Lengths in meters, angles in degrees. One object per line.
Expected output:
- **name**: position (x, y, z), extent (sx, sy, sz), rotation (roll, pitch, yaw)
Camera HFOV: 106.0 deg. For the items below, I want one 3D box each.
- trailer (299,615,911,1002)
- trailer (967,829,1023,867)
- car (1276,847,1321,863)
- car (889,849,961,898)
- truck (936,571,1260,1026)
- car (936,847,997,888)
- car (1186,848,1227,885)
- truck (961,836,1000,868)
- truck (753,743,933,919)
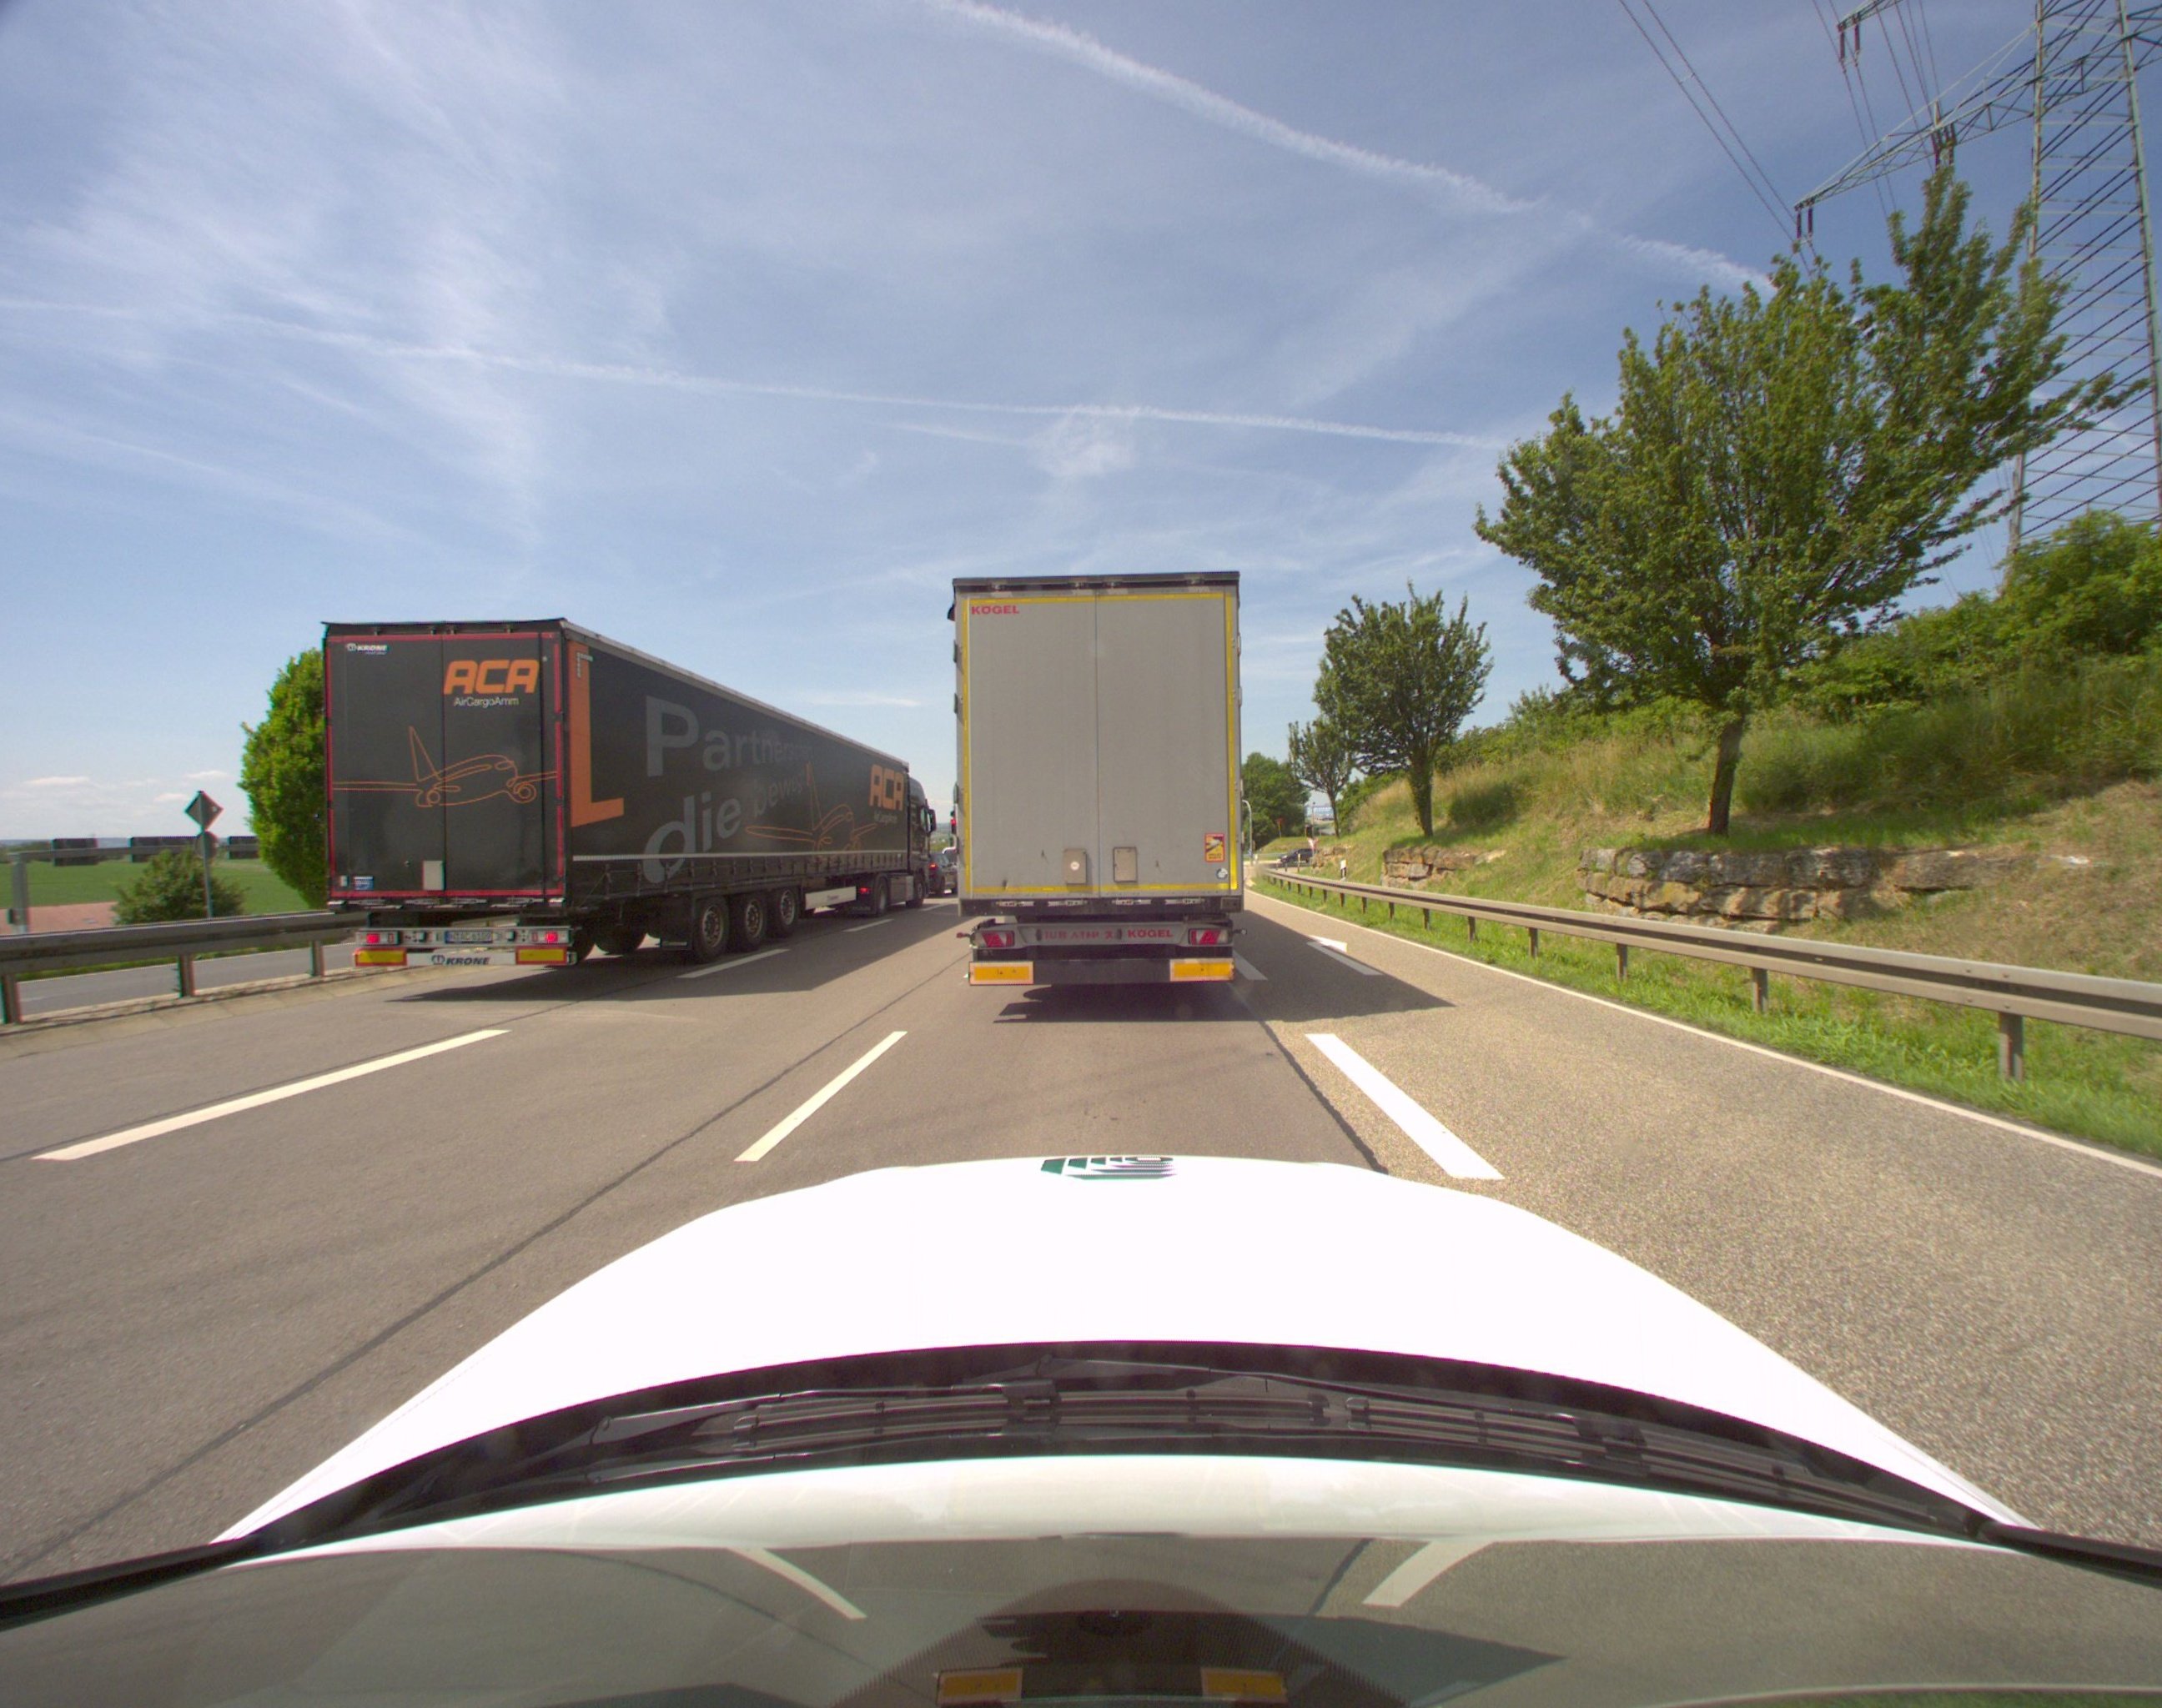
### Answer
- **trailer**: position (-6.307, -0.452, 15.192), extent (2.772, 3.913, 13.796), rotation (0, 0, 3)
- **trailer**: position (-9.401, -0.487, 92.102), extent (2.627, 3.763, 19.821), rotation (-2, -1, 4)
- **car**: position (21.470, 0.088, 80.444), extent (3.981, 1.510, 1.713), rotation (-1, -1, -6)
- **car**: position (-5.649, 0.653, 29.942), extent (1.850, 1.657, 4.346), rotation (0, 0, -1)
- **truck**: position (0.323, -0.445, 12.743), extent (2.788, 3.930, 11.345), rotation (0, 0, 2)
- **car**: position (-5.252, 0.579, 37.931), extent (1.759, 1.798, 4.758), rotation (0, 0, 5)
- **car**: position (5.895, 0.594, 38.461), extent (1.786, 1.640, 4.009), rotation (0, -1, 8)
- **truck**: position (-10.113, -0.180, 82.576), extent (2.787, 3.013, 5.996), rotation (-2, -1, 4)
- **truck**: position (-6.010, -0.519, 21.670), extent (2.772, 4.013, 5.975), rotation (0, 0, 2)
